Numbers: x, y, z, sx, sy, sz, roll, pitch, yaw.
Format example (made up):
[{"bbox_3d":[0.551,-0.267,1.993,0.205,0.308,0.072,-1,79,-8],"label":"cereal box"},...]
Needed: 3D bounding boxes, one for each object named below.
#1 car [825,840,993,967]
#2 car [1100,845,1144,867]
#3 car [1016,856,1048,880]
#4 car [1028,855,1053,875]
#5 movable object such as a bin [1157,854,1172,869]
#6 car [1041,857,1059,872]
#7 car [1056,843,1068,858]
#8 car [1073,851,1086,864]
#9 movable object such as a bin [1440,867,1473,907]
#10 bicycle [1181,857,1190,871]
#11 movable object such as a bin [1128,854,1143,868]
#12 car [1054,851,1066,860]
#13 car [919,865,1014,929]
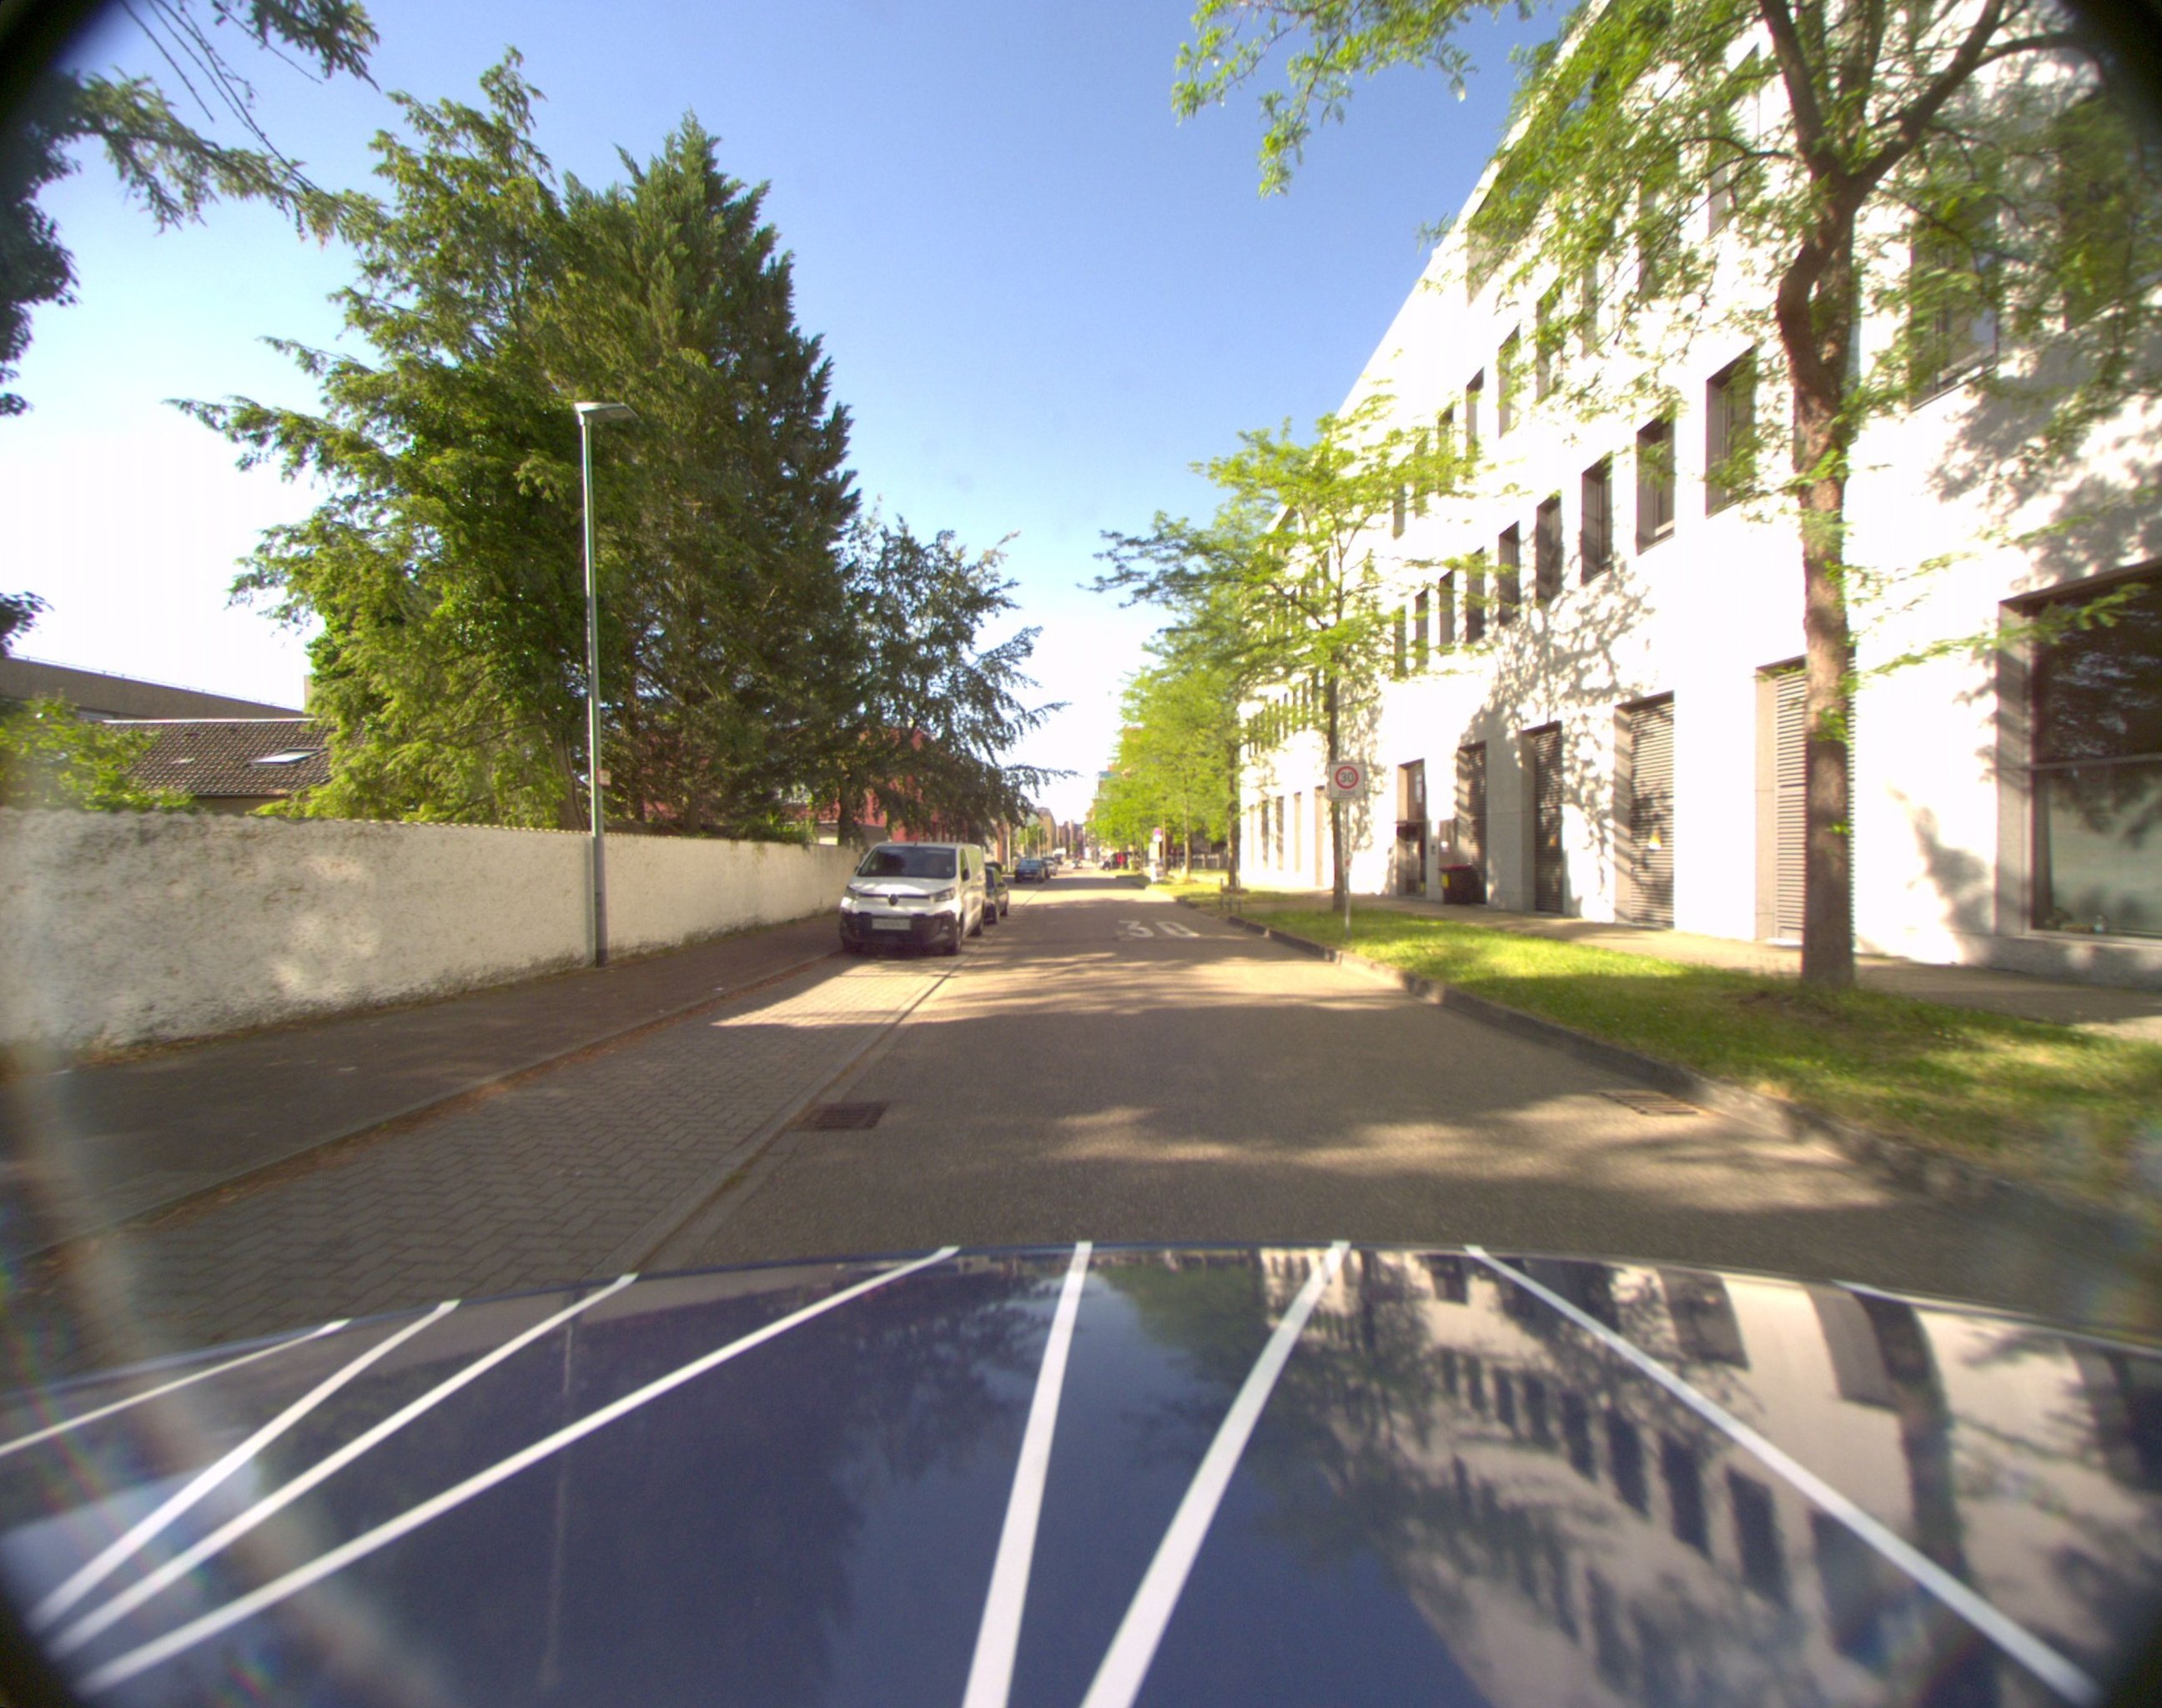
[{"bbox_3d":[-2.892,0.741,14.014,1.903,1.903,5.147,0,0,0],"label":"car"},{"bbox_3d":[5.238,0.211,97.786,5.490,2.527,1.986,-3,1,-1],"label":"car"},{"bbox_3d":[-3.365,0.934,52.789,1.903,1.620,4.372,0,0,0],"label":"car"},{"bbox_3d":[-3.371,0.881,64.135,1.878,1.620,4.406,0,0,0],"label":"car"},{"bbox_3d":[9.028,0.762,82.415,1.522,1.559,1.347,-2,1,5],"label":"movable object such as a bin"},{"bbox_3d":[-3.176,1.053,78.347,1.699,1.447,3.889,0,0,0],"label":"car"},{"bbox_3d":[-4.808,-0.936,196.064,2.913,3.920,6.325,0,0,1],"label":"car"},{"bbox_3d":[-0.264,0.511,116.802,1.903,1.974,4.372,0,0,0],"label":"car"},{"bbox_3d":[9.938,0.870,20.127,0.594,1.034,0.543,-2,1,-2],"label":"movable object such as a bin"},{"bbox_3d":[9.469,0.890,68.880,0.602,1.185,1.727,-2,0,0],"label":"bicycle"},{"bbox_3d":[6.364,0.791,88.705,1.524,1.559,1.345,-2,1,-10],"label":"movable object such as a bin"},{"bbox_3d":[-3.781,0.218,136.179,1.903,1.585,4.372,0,0,0],"label":"car"},{"bbox_3d":[-2.879,1.046,20.015,1.830,1.415,4.283,0,0,0],"label":"car"}]
